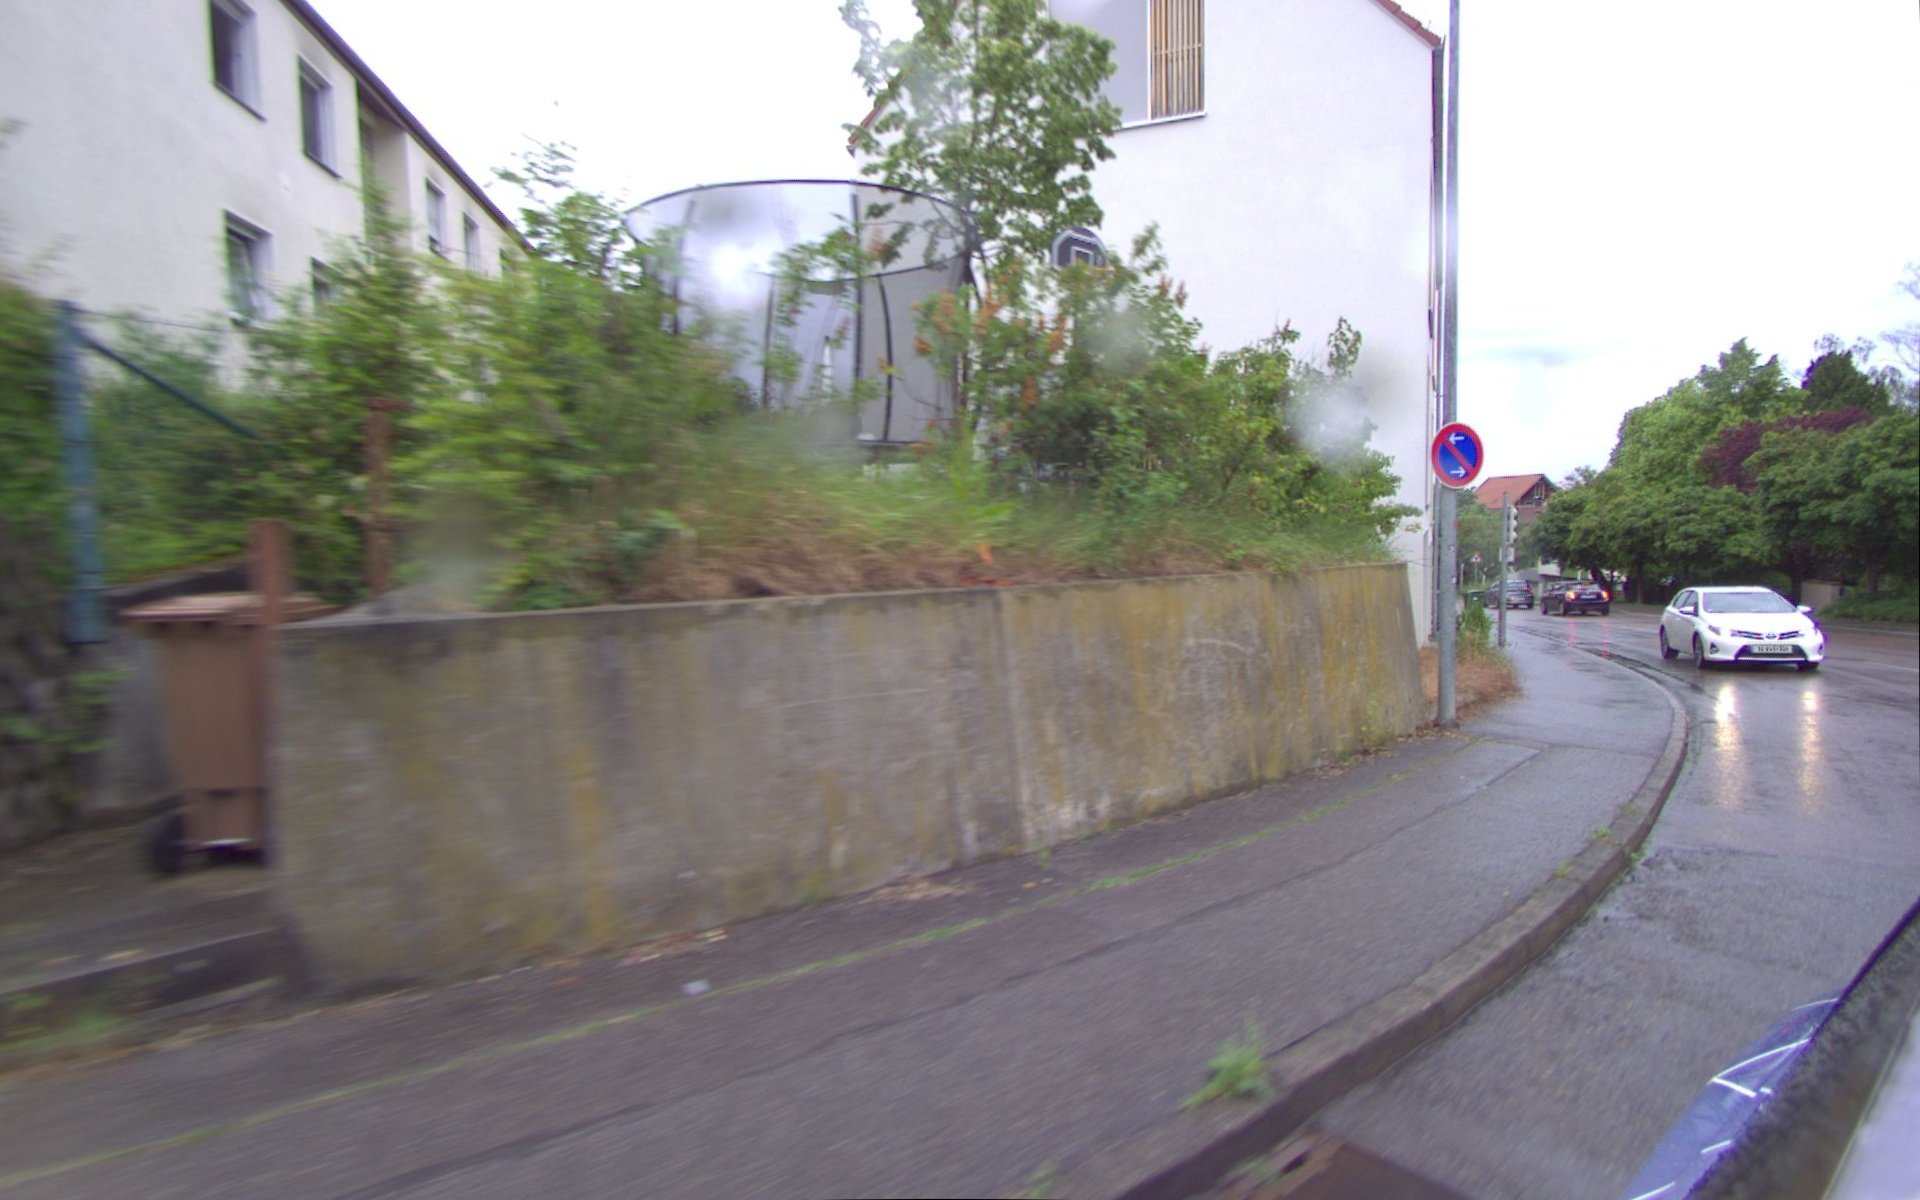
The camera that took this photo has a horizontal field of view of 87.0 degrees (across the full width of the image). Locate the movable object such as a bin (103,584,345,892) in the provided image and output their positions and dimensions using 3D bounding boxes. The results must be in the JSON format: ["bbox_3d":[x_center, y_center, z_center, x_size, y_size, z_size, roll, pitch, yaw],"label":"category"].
[{"bbox_3d":[-2.441,0.428,3.397,0.472,0.947,0.467,-1,0,-4],"label":"movable object such as a bin"}]

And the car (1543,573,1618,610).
[{"bbox_3d":[25.413,-0.357,41.567,1.658,1.423,3.660,-1,1,16],"label":"car"}]

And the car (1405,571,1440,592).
[{"bbox_3d":[35.175,-1.405,77.070,1.784,1.573,3.812,-1,1,15],"label":"car"}]

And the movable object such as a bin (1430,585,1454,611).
[{"bbox_3d":[20.245,-0.082,42.511,0.788,1.084,0.757,-1,0,18],"label":"movable object such as a bin"}]

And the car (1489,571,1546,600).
[{"bbox_3d":[28.336,-0.746,51.575,1.800,1.440,3.878,-1,1,18],"label":"car"}]

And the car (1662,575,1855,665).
[{"bbox_3d":[14.829,0.313,19.061,1.840,1.453,3.986,-2,1,24],"label":"car"}]
